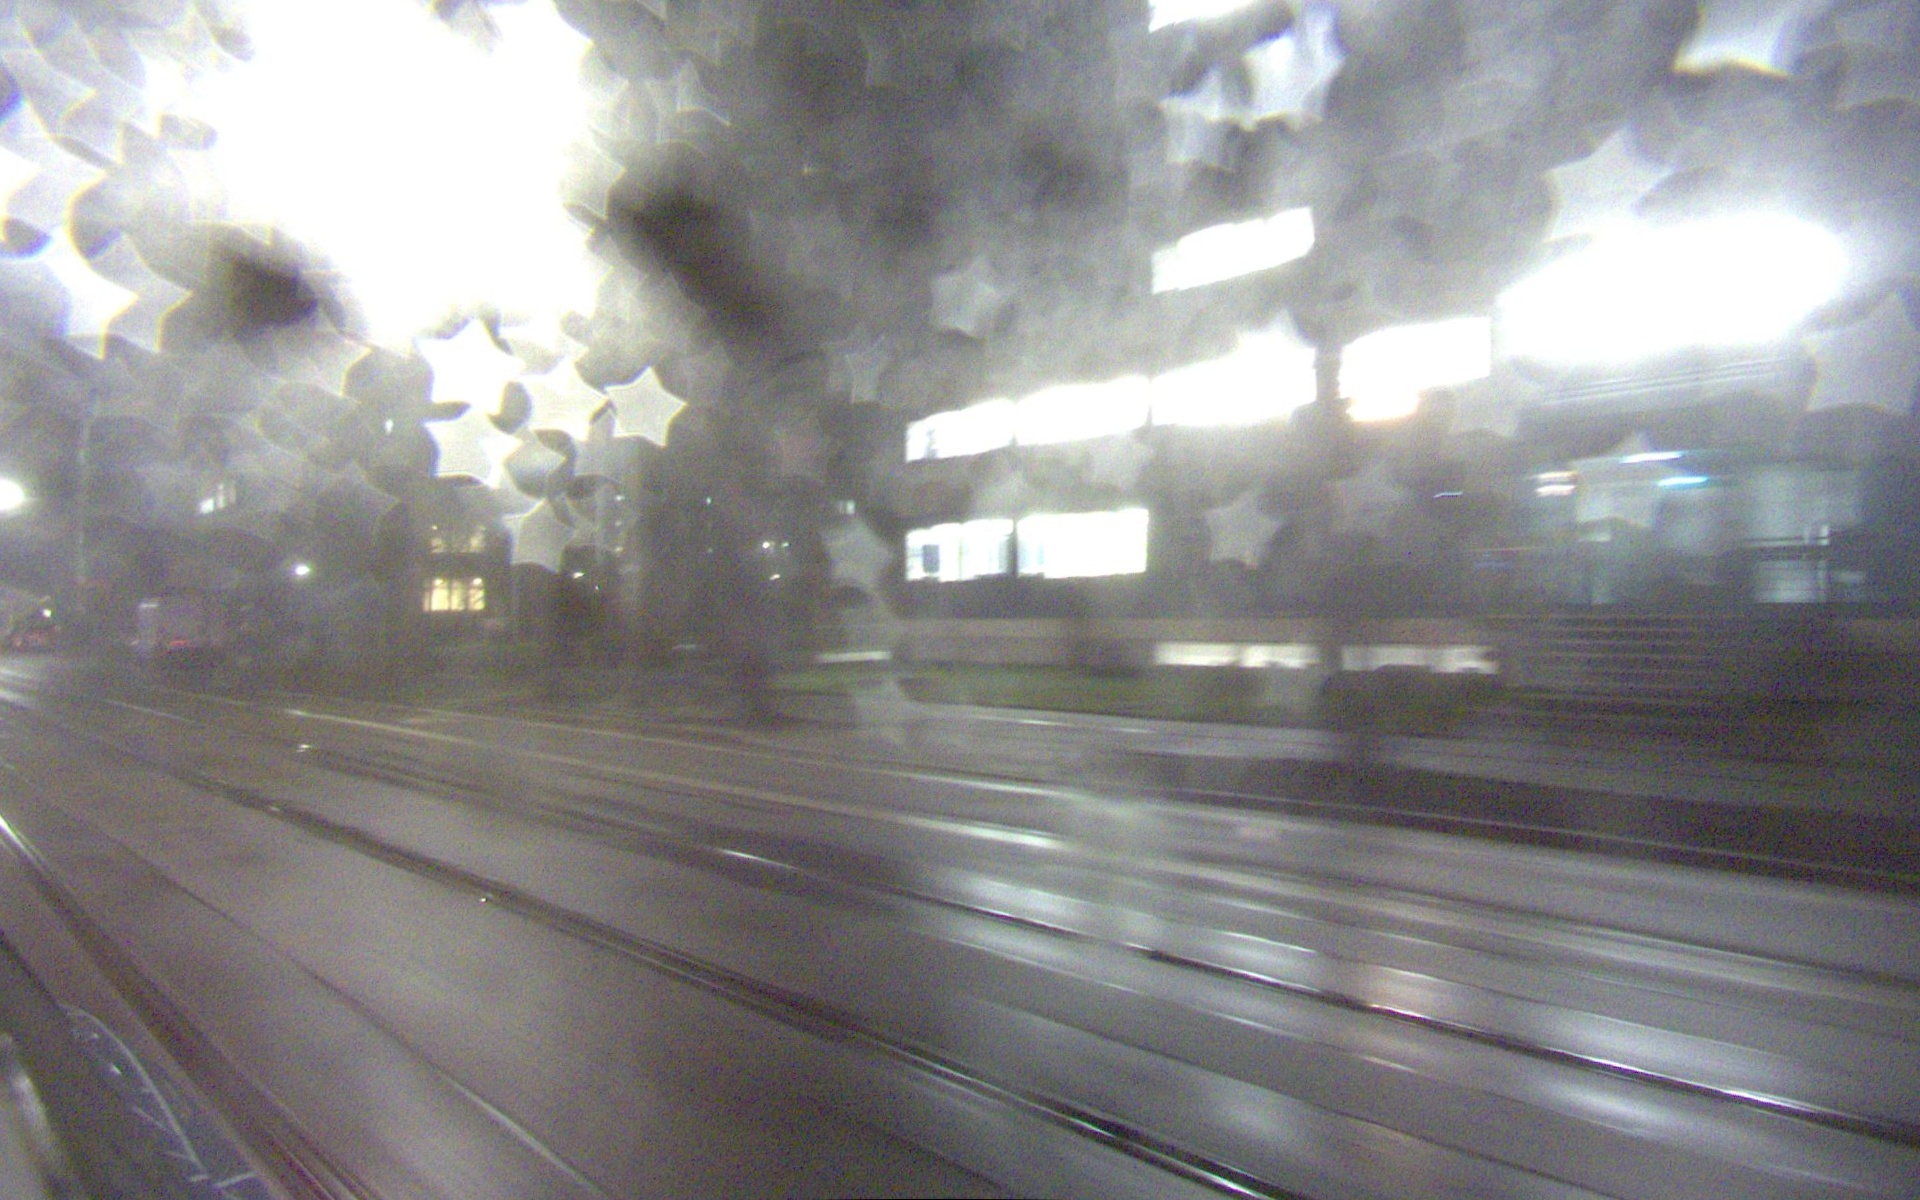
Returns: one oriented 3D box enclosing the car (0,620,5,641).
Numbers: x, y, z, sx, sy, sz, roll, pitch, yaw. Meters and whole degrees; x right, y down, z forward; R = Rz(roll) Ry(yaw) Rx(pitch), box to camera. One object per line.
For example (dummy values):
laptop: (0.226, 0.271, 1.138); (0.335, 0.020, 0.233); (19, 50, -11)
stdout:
car: (-75.784, 2.416, 78.478); (4.394, 1.556, 1.862); (-1, 3, 39)

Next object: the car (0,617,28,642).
car: (-65.588, 2.027, 69.437); (4.515, 1.643, 1.963); (-1, 0, 41)

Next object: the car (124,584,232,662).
car: (-28.559, 0.842, 36.863); (6.392, 2.611, 2.161); (-2, -1, 44)

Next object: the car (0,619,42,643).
car: (-60.046, 1.973, 64.482); (3.909, 1.432, 1.674); (-1, -1, 38)

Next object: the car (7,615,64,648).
car: (-52.030, 1.721, 56.921); (4.600, 1.668, 1.948); (-1, 2, 43)
